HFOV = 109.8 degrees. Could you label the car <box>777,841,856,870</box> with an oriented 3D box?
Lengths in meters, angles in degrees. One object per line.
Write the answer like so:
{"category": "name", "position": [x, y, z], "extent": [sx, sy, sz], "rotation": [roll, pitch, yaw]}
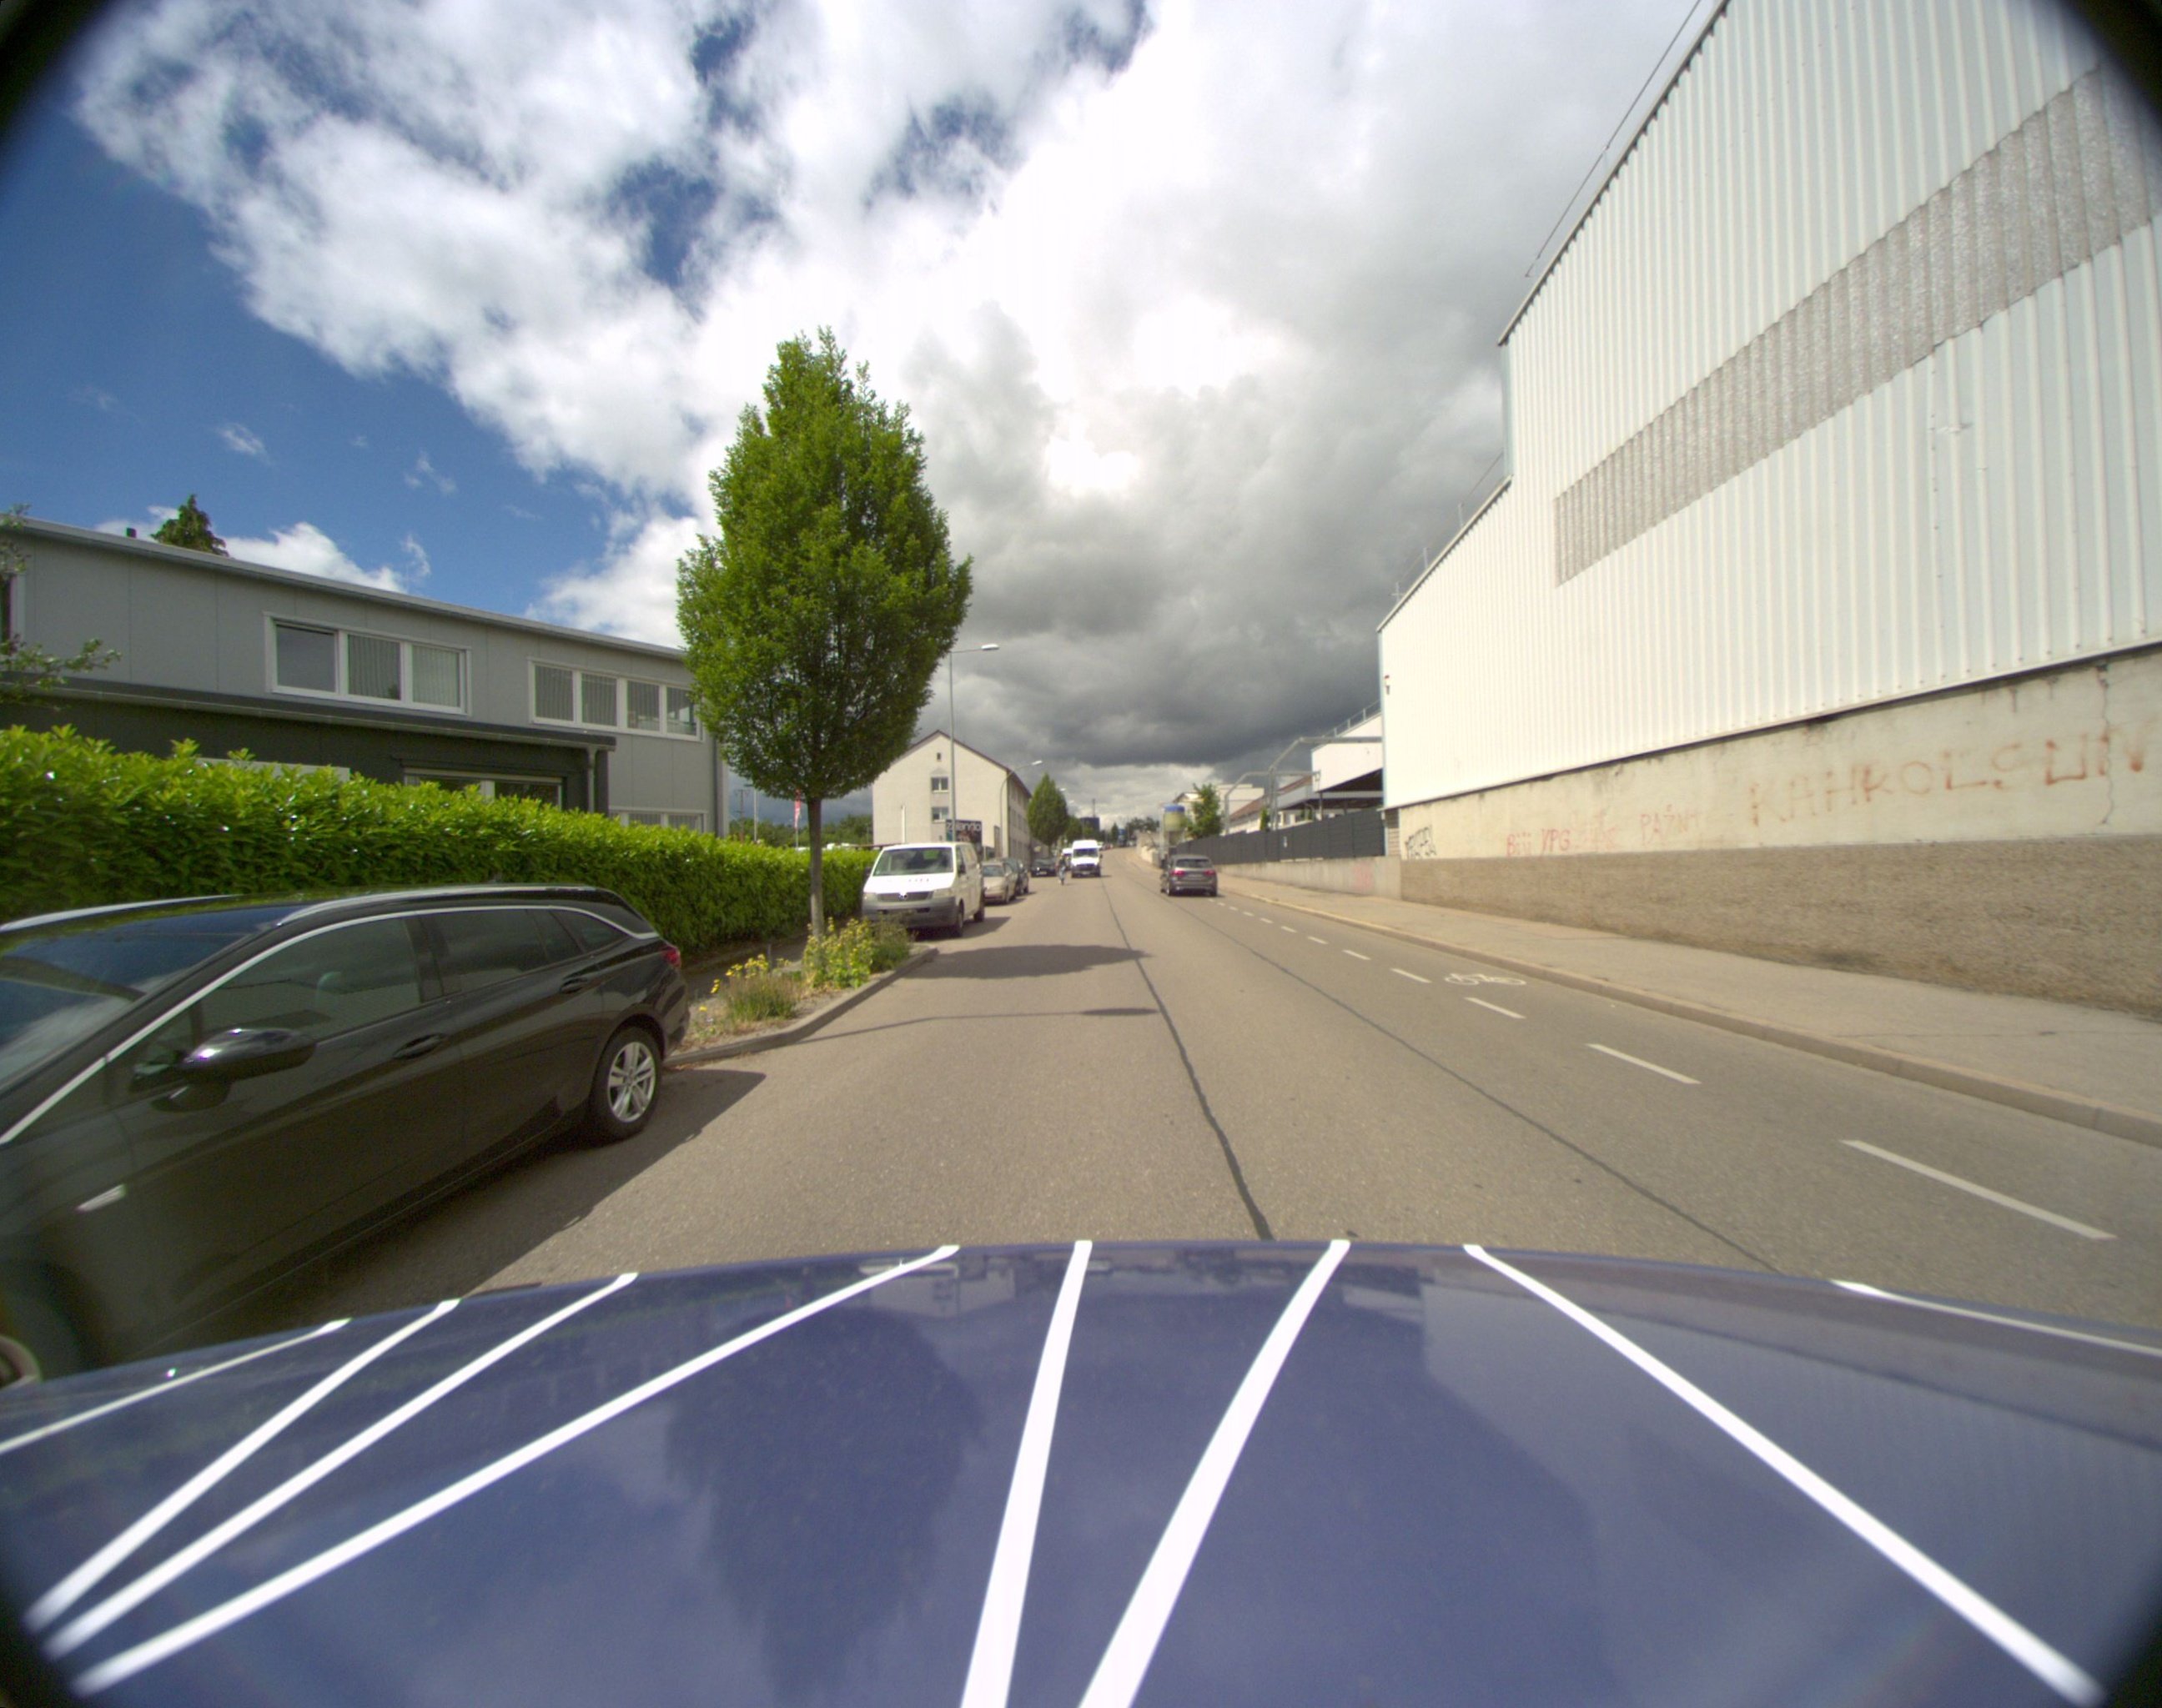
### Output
{"category": "car", "position": [-23.737, 0.117, 68.328], "extent": [6.180, 2.438, 2.273], "rotation": [-2, 2, -3]}

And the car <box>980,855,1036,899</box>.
{"category": "car", "position": [-2.967, 0.902, 31.732], "extent": [1.683, 1.628, 4.123], "rotation": [-1, 1, 3]}

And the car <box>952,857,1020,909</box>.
{"category": "car", "position": [-3.200, 0.939, 26.516], "extent": [1.659, 1.531, 4.734], "rotation": [-1, 1, 1]}

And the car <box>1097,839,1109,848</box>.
{"category": "car", "position": [5.504, -2.554, 189.325], "extent": [1.978, 1.993, 5.550], "rotation": [-1, 2, 13]}

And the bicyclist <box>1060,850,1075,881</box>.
{"category": "bicyclist", "position": [-0.708, 0.623, 40.656], "extent": [0.741, 1.617, 0.731], "rotation": [-2, 3, -1]}

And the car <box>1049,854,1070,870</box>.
{"category": "car", "position": [-2.113, 0.734, 74.272], "extent": [1.739, 1.464, 4.262], "rotation": [-2, 0, 2]}

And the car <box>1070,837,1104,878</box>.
{"category": "car", "position": [0.499, 0.180, 53.557], "extent": [2.082, 2.576, 6.061], "rotation": [-1, 2, 3]}

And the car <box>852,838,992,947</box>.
{"category": "car", "position": [-3.258, 0.699, 16.710], "extent": [1.874, 1.979, 5.143], "rotation": [-1, 1, 1]}

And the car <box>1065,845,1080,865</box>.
{"category": "car", "position": [-1.205, 0.125, 109.058], "extent": [2.038, 2.627, 7.280], "rotation": [-1, 2, 0]}

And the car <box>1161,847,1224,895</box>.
{"category": "car", "position": [4.134, 0.575, 28.750], "extent": [1.723, 1.547, 4.287], "rotation": [2, 2, 1]}

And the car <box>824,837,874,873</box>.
{"category": "car", "position": [-19.135, 0.034, 62.938], "extent": [2.282, 2.753, 5.453], "rotation": [-1, 2, 0]}

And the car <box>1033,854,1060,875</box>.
{"category": "car", "position": [-2.589, 0.769, 58.241], "extent": [1.796, 1.457, 4.707], "rotation": [-1, 1, 0]}

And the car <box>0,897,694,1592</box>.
{"category": "car", "position": [-3.456, 1.053, 2.727], "extent": [1.718, 1.465, 4.511], "rotation": [-1, 1, 1]}

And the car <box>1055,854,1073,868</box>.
{"category": "car", "position": [-1.816, 0.749, 81.462], "extent": [1.739, 1.415, 4.860], "rotation": [-2, 0, 0]}

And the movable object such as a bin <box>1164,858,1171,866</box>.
{"category": "movable object such as a bin", "position": [10.917, 0.988, 95.989], "extent": [0.874, 1.044, 0.741], "rotation": [1, 0, 5]}

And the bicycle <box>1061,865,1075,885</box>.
{"category": "bicycle", "position": [-0.692, 1.094, 40.532], "extent": [0.742, 0.969, 1.732], "rotation": [-1, 1, -1]}

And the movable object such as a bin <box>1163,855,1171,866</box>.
{"category": "movable object such as a bin", "position": [10.998, 0.819, 96.961], "extent": [0.993, 1.385, 1.216], "rotation": [1, 0, 3]}

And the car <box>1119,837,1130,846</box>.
{"category": "car", "position": [12.565, -3.655, 218.067], "extent": [2.057, 2.580, 5.739], "rotation": [-1, 2, 16]}
